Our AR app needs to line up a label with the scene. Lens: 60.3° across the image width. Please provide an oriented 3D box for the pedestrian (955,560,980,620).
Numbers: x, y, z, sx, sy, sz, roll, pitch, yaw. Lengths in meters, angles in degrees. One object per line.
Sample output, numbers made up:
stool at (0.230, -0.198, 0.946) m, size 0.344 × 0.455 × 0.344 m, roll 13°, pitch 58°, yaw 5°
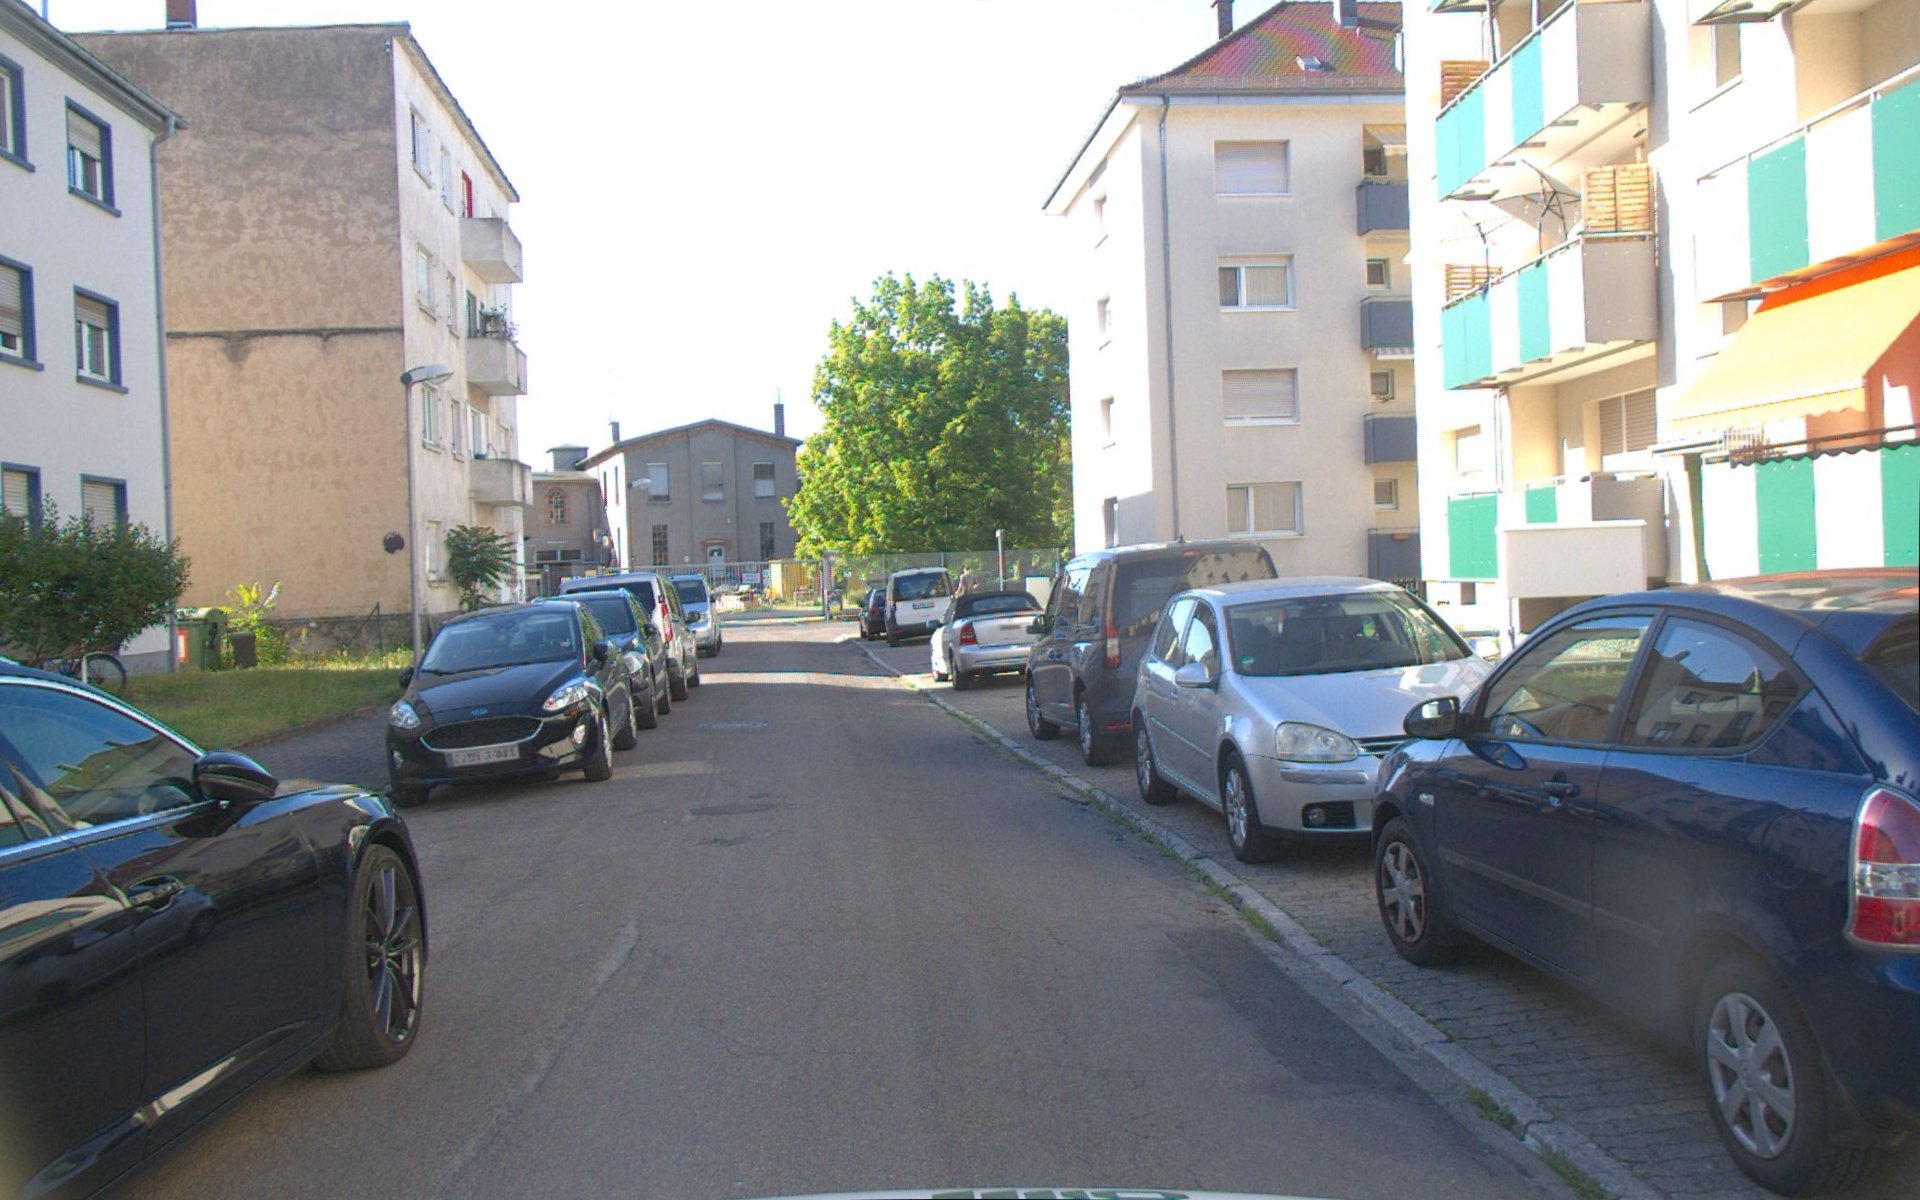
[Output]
pedestrian at (0.246, -0.326, 52.056) m, size 0.640 × 1.847 × 0.614 m, roll -4°, pitch 0°, yaw 3°

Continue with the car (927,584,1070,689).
car at (0.522, 0.508, 25.949) m, size 1.684 × 1.387 × 4.050 m, roll -4°, pitch 1°, yaw -6°

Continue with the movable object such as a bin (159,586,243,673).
movable object such as a bin at (-14.671, 0.557, 32.008) m, size 1.048 × 1.566 × 1.355 m, roll -4°, pitch 0°, yaw -9°

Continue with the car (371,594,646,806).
car at (-3.754, 0.742, 14.369) m, size 1.627 × 1.468 × 3.866 m, roll -4°, pitch 1°, yaw -6°

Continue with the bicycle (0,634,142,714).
bicycle at (-12.314, 1.020, 22.910) m, size 1.615 × 0.953 × 0.547 m, roll -4°, pitch 0°, yaw -5°

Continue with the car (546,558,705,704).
car at (-4.863, 0.432, 24.576) m, size 1.860 × 1.887 × 4.189 m, roll -3°, pitch 0°, yaw -6°

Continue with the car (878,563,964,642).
car at (-1.046, 0.053, 41.912) m, size 1.732 × 1.769 × 4.089 m, roll -4°, pitch 1°, yaw -6°

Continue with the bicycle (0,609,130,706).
bicycle at (-11.724, 0.695, 20.301) m, size 2.622 × 1.150 × 0.771 m, roll 0°, pitch 1°, yaw -13°

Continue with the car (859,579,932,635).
car at (-1.900, 0.188, 47.381) m, size 1.732 × 1.386 × 4.089 m, roll -4°, pitch 1°, yaw -6°

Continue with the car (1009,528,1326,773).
car at (1.756, 0.411, 15.543) m, size 1.861 × 1.887 × 4.336 m, roll -3°, pitch 0°, yaw -7°

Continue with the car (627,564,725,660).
car at (-6.803, 0.274, 40.022) m, size 1.956 × 2.048 × 4.448 m, roll -4°, pitch 0°, yaw -6°

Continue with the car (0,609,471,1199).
car at (-2.623, 0.854, 3.632) m, size 1.708 × 1.456 × 4.597 m, roll -5°, pitch 1°, yaw -1°

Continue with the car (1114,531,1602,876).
car at (2.185, 0.488, 10.243) m, size 1.649 × 1.615 × 4.008 m, roll -3°, pitch 1°, yaw -6°

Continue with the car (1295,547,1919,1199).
car at (2.625, 0.605, 5.655) m, size 1.704 × 1.456 × 4.352 m, roll -4°, pitch 1°, yaw -4°

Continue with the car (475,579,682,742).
car at (-4.267, 0.620, 19.072) m, size 1.798 × 1.541 × 3.994 m, roll -4°, pitch 1°, yaw -7°
